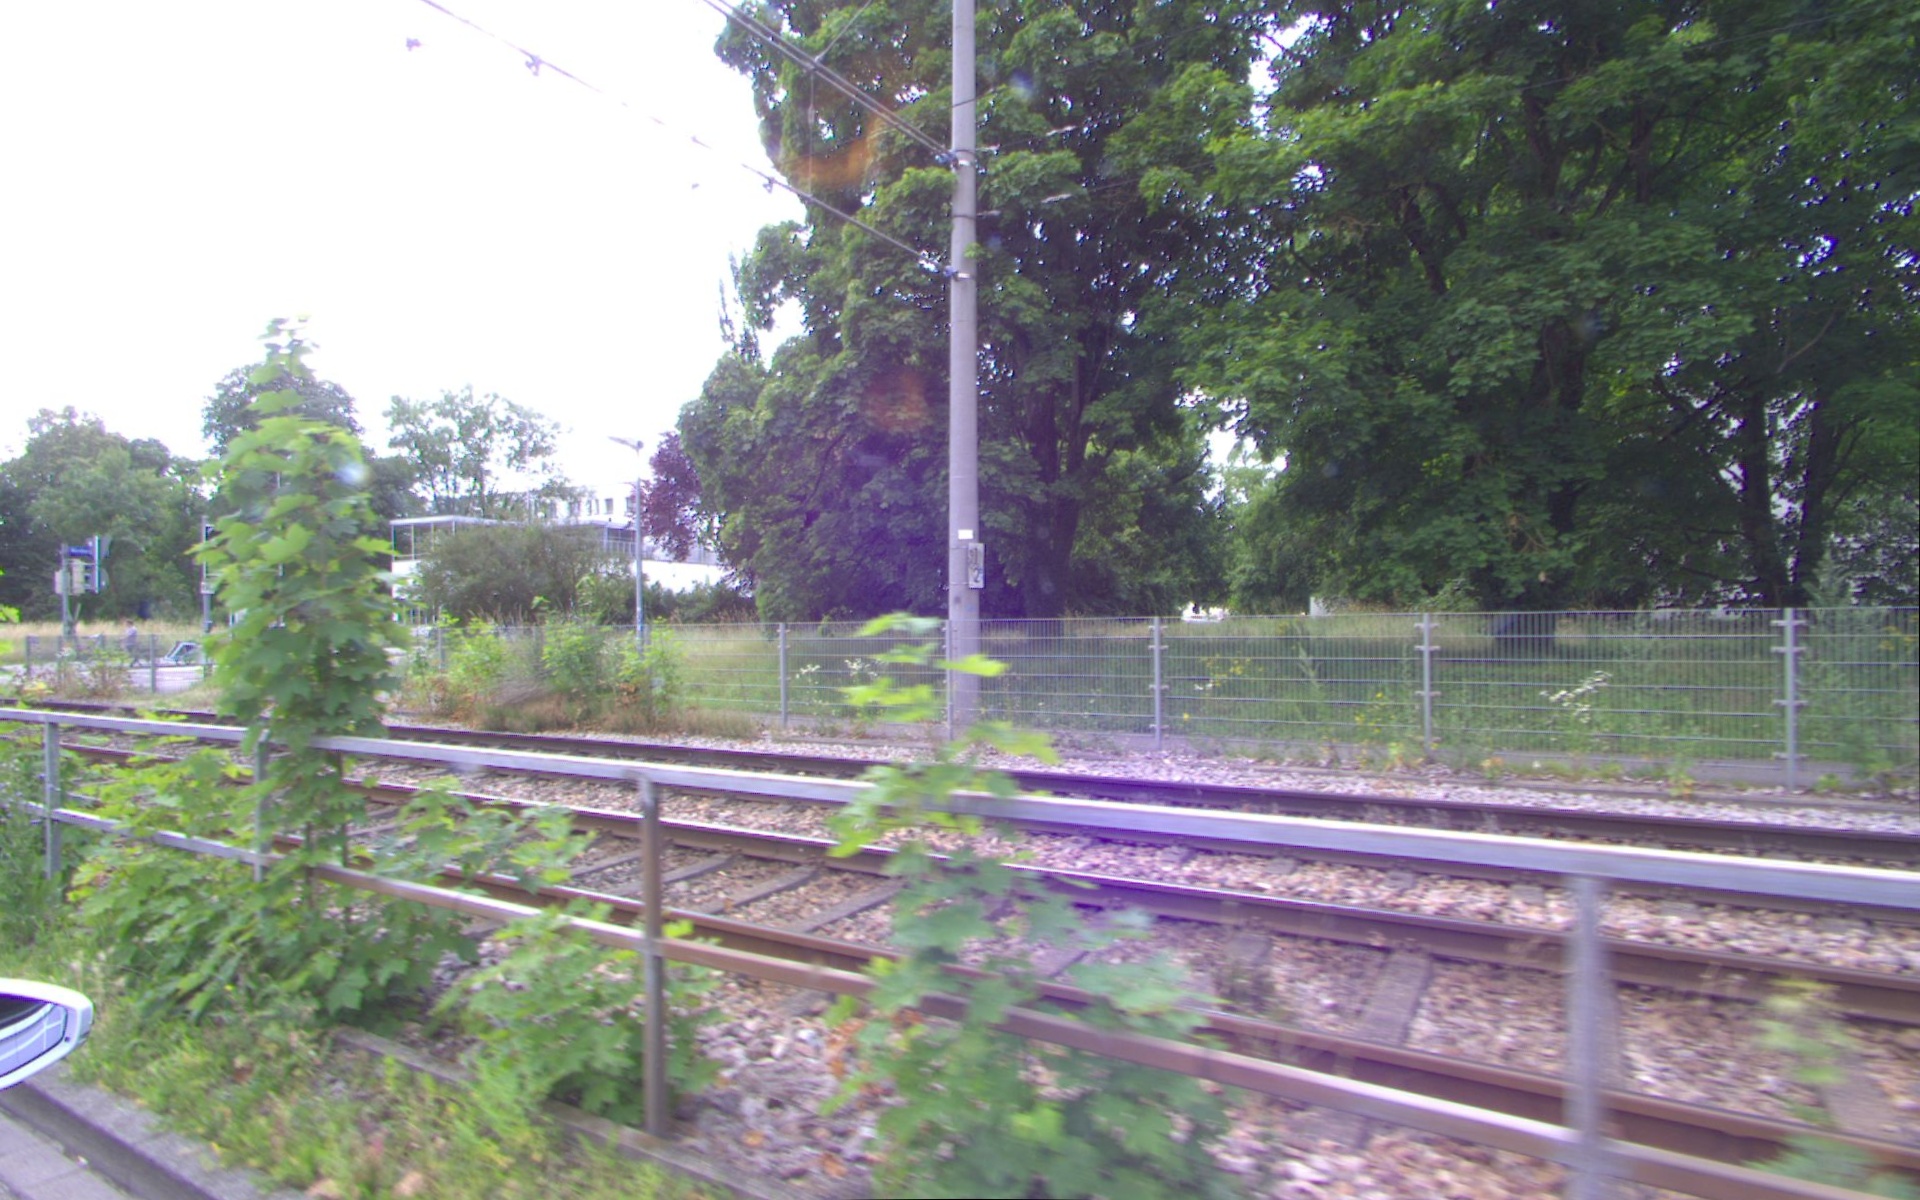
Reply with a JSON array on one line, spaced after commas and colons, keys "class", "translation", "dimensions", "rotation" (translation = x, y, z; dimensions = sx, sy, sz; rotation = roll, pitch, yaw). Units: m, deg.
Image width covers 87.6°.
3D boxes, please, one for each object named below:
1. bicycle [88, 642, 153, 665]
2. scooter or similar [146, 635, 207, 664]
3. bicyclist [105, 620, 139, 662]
[{"class": "bicycle", "translation": [-30.380, 1.931, 36.268], "dimensions": [0.548, 0.775, 1.718], "rotation": [-1, -2, 34]}, {"class": "scooter or similar", "translation": [-29.434, 1.854, 37.624], "dimensions": [0.949, 0.992, 1.570], "rotation": [-1, 0, 34]}, {"class": "bicyclist", "translation": [-30.388, 1.487, 36.321], "dimensions": [0.449, 1.494, 0.837], "rotation": [-1, 0, 34]}]
